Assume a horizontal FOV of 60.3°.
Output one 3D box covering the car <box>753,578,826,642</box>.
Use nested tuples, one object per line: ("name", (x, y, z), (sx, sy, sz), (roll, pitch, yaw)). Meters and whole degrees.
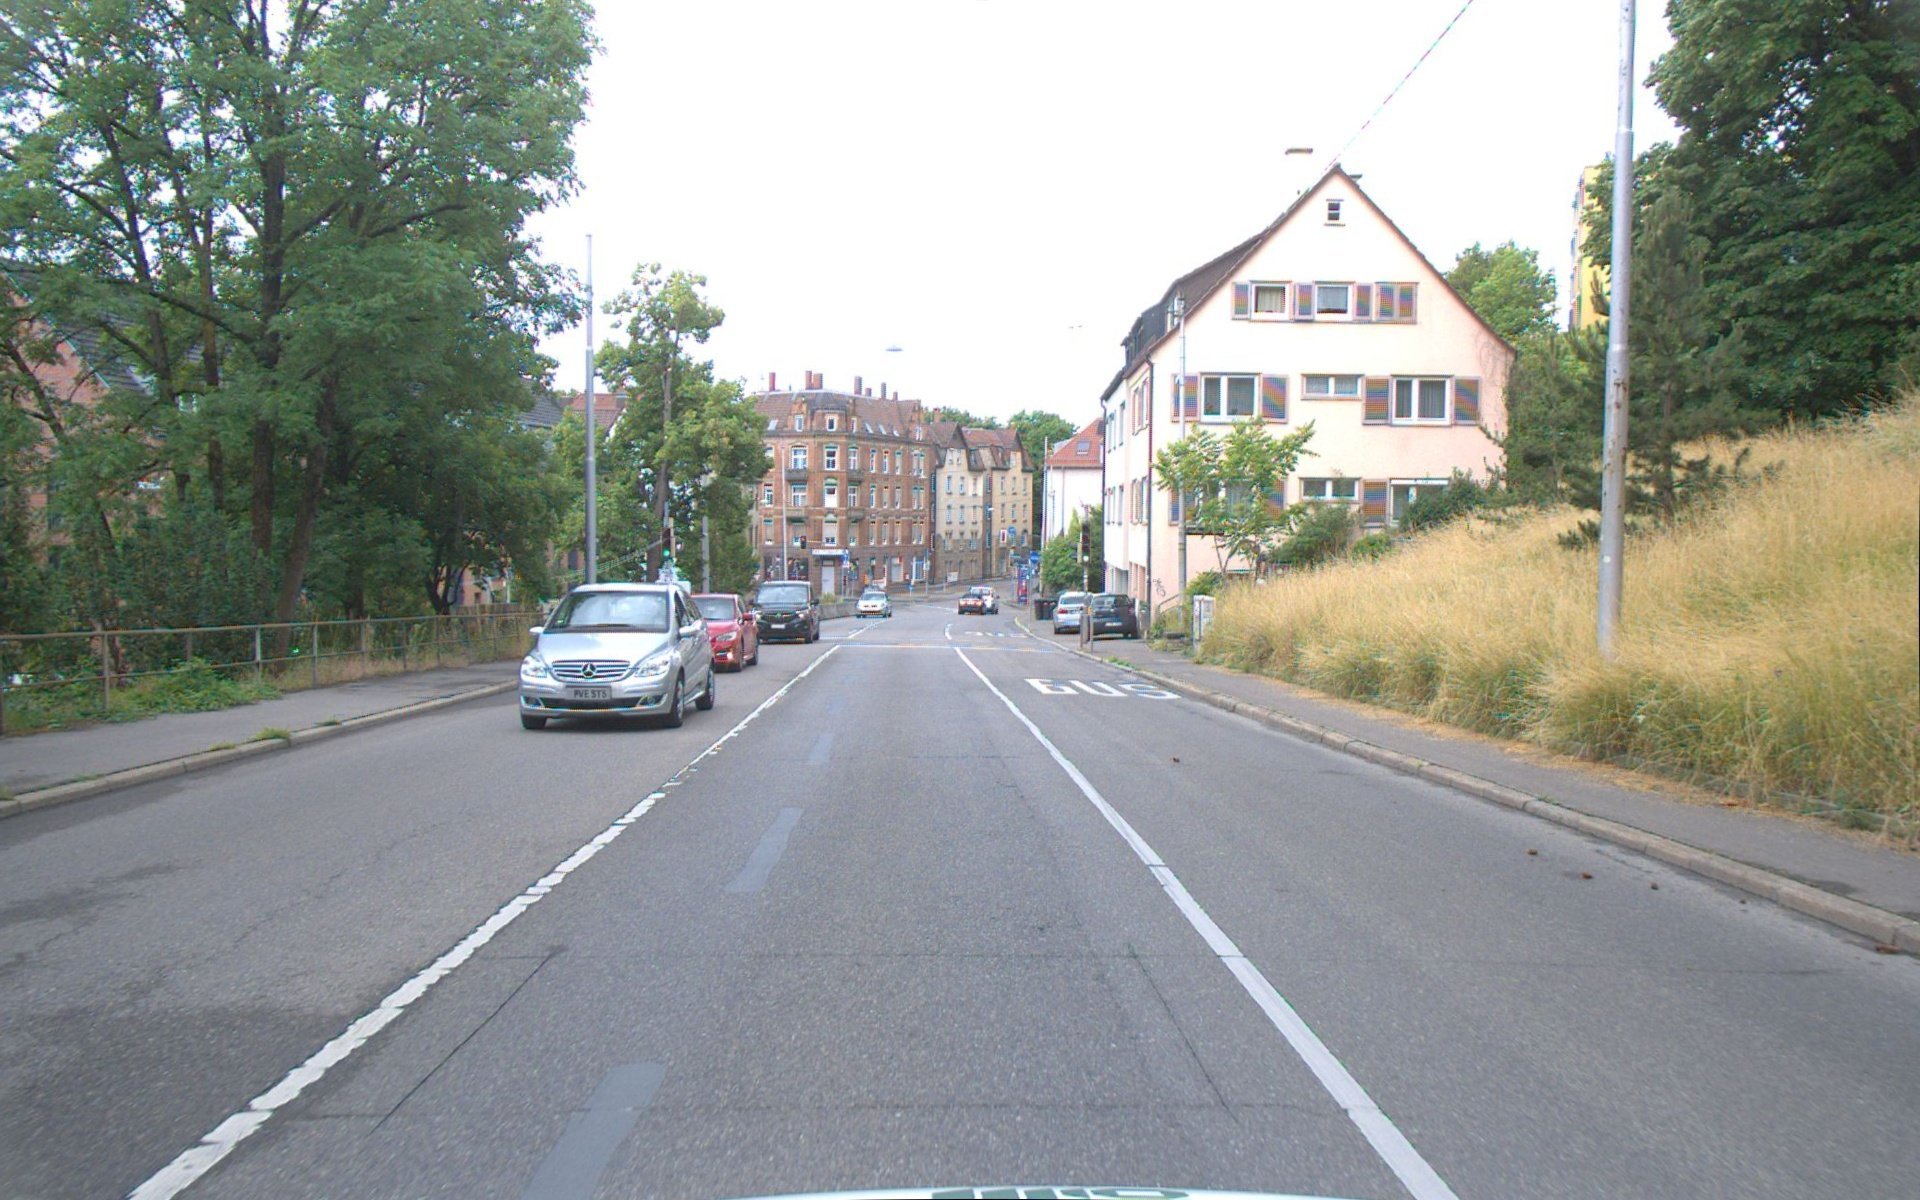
("car", (-4.962, 0.262, 48.612), (1.747, 1.776, 4.428), (-1, 0, -1))

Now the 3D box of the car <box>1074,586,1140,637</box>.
("car", (4.697, 0.355, 53.265), (1.647, 1.476, 3.999), (-3, 0, -1))

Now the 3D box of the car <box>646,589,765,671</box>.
("car", (-4.948, 0.539, 32.692), (1.748, 1.485, 4.427), (-1, 0, -2))

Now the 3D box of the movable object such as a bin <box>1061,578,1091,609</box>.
("movable object such as a bin", (5.626, -0.311, 80.441), (1.030, 1.470, 1.412), (0, 0, -16))

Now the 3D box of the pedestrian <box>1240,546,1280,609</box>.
("pedestrian", (8.376, -0.632, 46.230), (0.869, 1.725, 0.872), (2, 0, -5))

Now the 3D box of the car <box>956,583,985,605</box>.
("car", (0.743, -0.434, 113.477), (1.778, 1.455, 4.002), (2, 1, 3))

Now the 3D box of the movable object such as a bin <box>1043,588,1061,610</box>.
("movable object such as a bin", (4.646, -0.055, 83.502), (0.730, 1.077, 0.676), (0, 0, -16))

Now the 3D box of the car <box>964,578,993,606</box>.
("car", (1.368, -0.568, 120.231), (1.869, 1.917, 4.002), (2, 0, 3))

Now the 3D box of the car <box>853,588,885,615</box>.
("car", (-5.160, 0.049, 94.516), (1.685, 1.470, 4.158), (-1, 1, -1))

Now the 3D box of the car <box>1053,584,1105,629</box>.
("car", (4.435, 0.228, 62.173), (1.757, 1.476, 4.720), (-3, 1, 2))

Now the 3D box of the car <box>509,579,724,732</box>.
("car", (-3.945, 0.566, 19.689), (1.748, 1.602, 4.280), (-1, 0, -2))
